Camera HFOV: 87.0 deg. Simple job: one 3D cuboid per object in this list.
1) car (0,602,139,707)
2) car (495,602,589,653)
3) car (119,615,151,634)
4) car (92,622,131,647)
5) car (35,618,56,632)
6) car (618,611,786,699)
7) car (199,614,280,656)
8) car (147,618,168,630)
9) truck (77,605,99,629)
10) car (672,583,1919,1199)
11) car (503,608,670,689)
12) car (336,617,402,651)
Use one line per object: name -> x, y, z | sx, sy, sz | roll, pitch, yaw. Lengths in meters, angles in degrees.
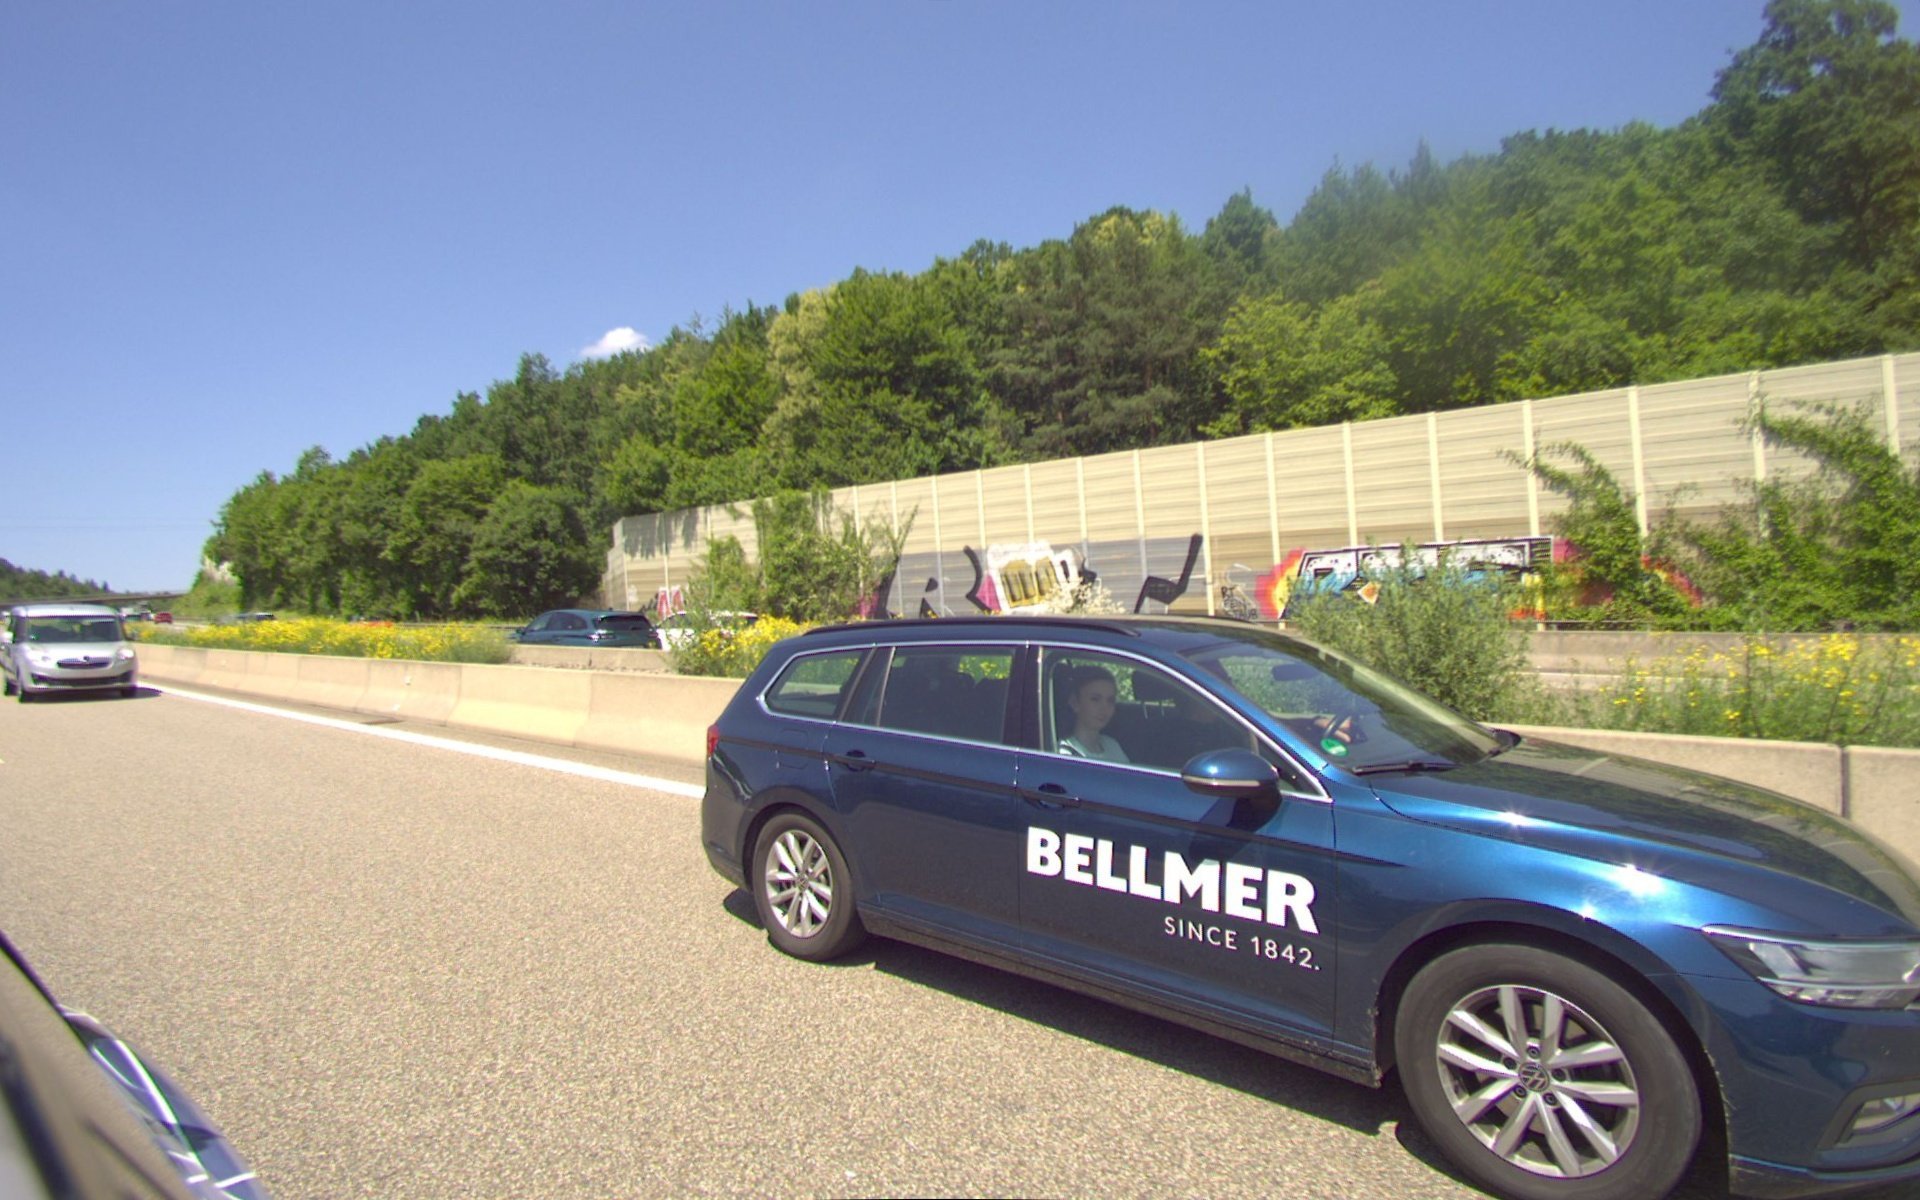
car -> -17.679, 0.997, 19.981 | 4.000, 1.858, 1.757 | -1, -1, 43
car -> -17.056, 1.067, 41.169 | 4.502, 1.936, 1.719 | 0, 0, 41
car -> -72.107, 2.125, 88.466 | 3.712, 1.663, 1.625 | 0, 0, 42
car -> -59.052, 2.370, 70.443 | 3.712, 1.663, 1.625 | 0, 0, 42
car -> -140.027, 3.864, 154.896 | 3.999, 2.029, 1.972 | -1, -1, 42
car -> -6.352, 1.245, 24.615 | 4.502, 1.936, 1.719 | 0, 0, 41
car -> -29.147, 1.380, 40.882 | 4.713, 1.589, 1.728 | -1, -1, 42
car -> -109.967, 3.254, 138.701 | 4.000, 1.647, 1.708 | -1, -1, 43
truck -> -133.650, 2.601, 155.038 | 6.027, 3.532, 1.972 | -1, -1, 43
car -> 0.958, 0.710, 3.839 | 4.729, 1.438, 1.714 | -1, 0, 42
car -> -7.667, 0.943, 20.623 | 3.751, 1.478, 1.600 | -1, -1, 41
car -> -30.481, 1.713, 52.157 | 4.187, 1.652, 1.721 | 0, 0, 42
